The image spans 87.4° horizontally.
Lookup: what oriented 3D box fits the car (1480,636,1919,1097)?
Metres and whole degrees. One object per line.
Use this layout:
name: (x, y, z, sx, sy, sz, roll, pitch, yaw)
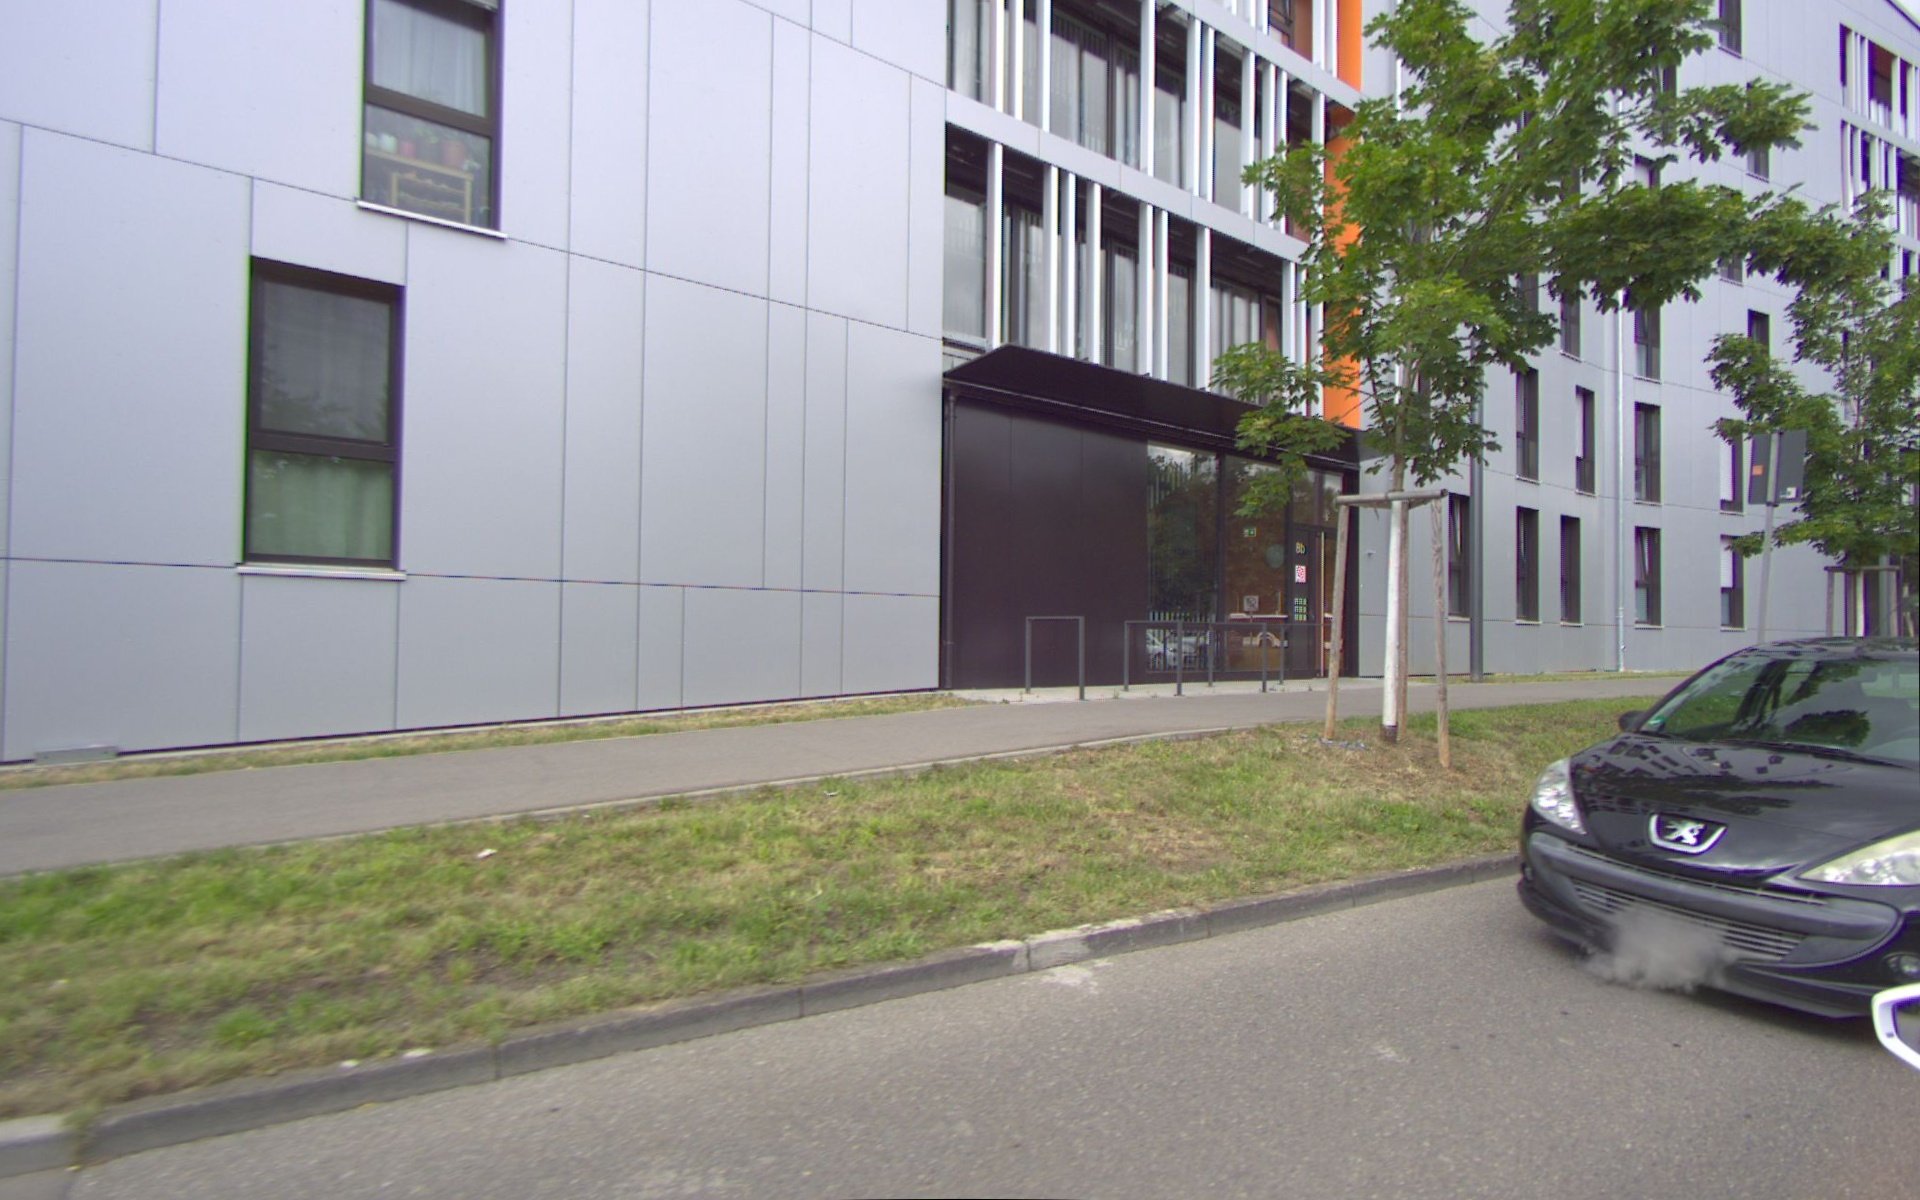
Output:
car: (4.402, 0.901, 4.776, 3.954, 1.406, 1.601, 1, 0, -31)
